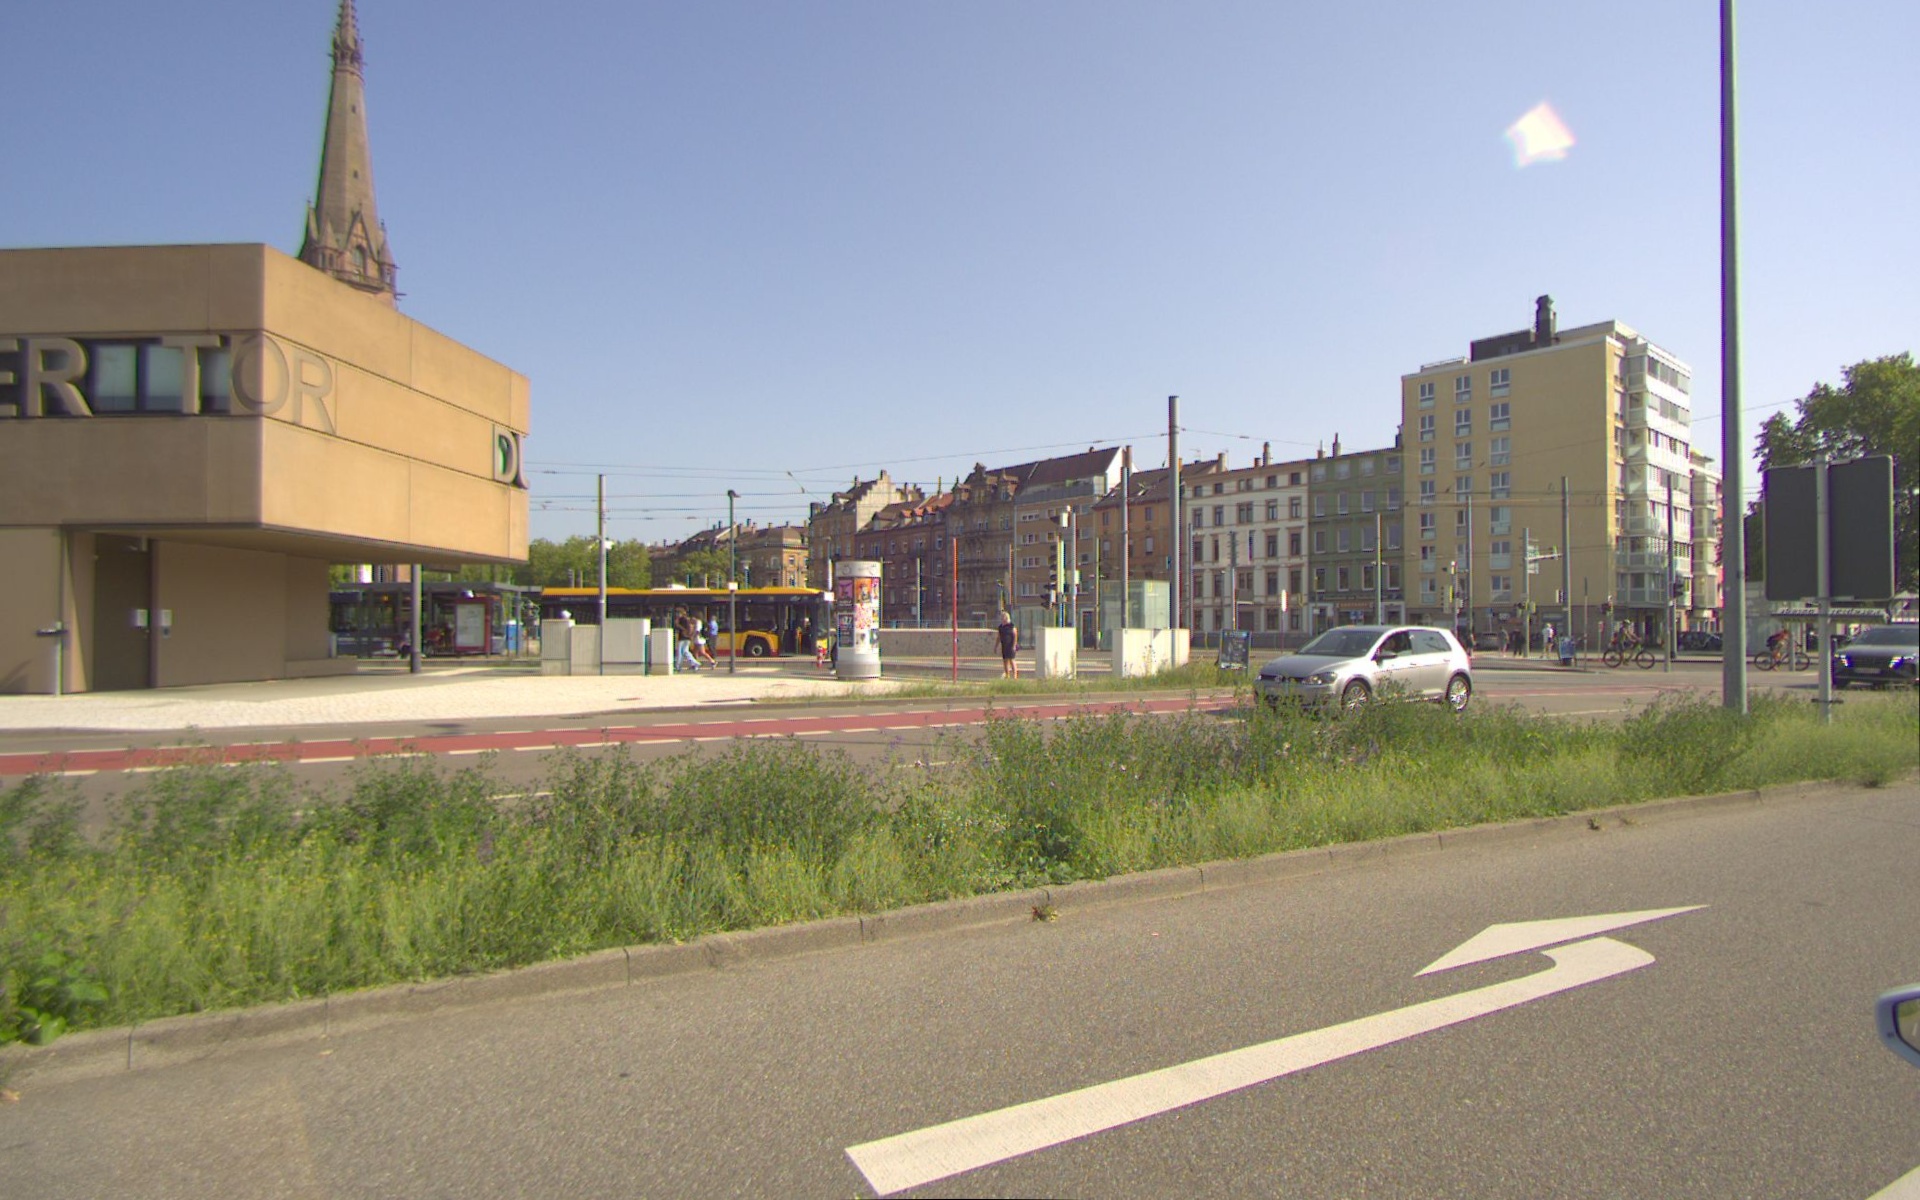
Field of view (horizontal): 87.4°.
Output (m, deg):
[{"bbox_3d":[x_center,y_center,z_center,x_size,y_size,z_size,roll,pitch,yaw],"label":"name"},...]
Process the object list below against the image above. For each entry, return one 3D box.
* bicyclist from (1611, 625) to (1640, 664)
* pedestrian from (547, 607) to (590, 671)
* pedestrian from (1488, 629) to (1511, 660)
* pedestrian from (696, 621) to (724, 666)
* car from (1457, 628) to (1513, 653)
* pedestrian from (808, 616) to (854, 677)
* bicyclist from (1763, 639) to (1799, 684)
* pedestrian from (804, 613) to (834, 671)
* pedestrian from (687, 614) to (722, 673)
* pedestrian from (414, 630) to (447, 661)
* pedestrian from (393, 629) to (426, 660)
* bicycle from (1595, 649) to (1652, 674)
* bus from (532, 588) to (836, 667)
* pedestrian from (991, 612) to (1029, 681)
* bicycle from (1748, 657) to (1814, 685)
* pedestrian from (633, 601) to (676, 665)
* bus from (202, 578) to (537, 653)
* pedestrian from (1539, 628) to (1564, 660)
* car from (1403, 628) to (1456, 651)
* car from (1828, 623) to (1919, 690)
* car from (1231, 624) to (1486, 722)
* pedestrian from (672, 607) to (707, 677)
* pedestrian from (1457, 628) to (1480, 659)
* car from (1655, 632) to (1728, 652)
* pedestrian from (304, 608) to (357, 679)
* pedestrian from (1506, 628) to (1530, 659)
[{"bbox_3d":[27.205,1.815,41.078,0.719,1.547,0.789,1,-1,-35],"label":"bicyclist"},{"bbox_3d":[-10.639,1.048,27.276,0.858,1.694,0.980,1,-2,-37],"label":"pedestrian"},{"bbox_3d":[30.355,2.498,56.532,0.915,1.712,0.914,1,-1,-41],"label":"pedestrian"},{"bbox_3d":[-9.821,1.696,39.472,0.819,1.761,0.831,0,-1,2],"label":"pedestrian"},{"bbox_3d":[37.580,2.885,72.030,1.960,1.701,4.553,0,-1,5],"label":"car"},{"bbox_3d":[-3.400,1.228,26.531,0.970,1.579,0.866,0,-2,11],"label":"pedestrian"},{"bbox_3d":[30.975,2.297,37.913,0.719,1.674,0.875,1,-1,-35],"label":"bicyclist"},{"bbox_3d":[-4.492,1.337,32.057,0.693,1.824,0.773,1,-2,-31],"label":"pedestrian"},{"bbox_3d":[-7.013,1.198,27.608,0.850,1.583,0.988,1,-2,-10],"label":"pedestrian"},{"bbox_3d":[-20.030,1.709,38.014,0.724,1.148,1.030,0,-2,-4],"label":"pedestrian"},{"bbox_3d":[-20.876,1.685,38.116,0.724,1.148,1.030,0,-2,-4],"label":"pedestrian"},{"bbox_3d":[27.159,2.518,41.133,0.719,0.944,1.801,1,-2,-34],"label":"bicycle"},{"bbox_3d":[-11.404,1.146,42.009,11.968,3.149,2.718,0,-2,4],"label":"bus"},{"bbox_3d":[1.347,1.250,26.988,0.693,1.824,0.773,1,-2,-31],"label":"pedestrian"},{"bbox_3d":[30.968,2.668,37.913,0.719,0.944,1.801,1,-2,-34],"label":"bicycle"},{"bbox_3d":[-8.538,0.923,28.039,0.858,1.727,0.980,1,-2,-37],"label":"pedestrian"},{"bbox_3d":[-24.873,0.654,42.666,12.539,3.017,3.301,0,-2,4],"label":"bus"},{"bbox_3d":[31.815,2.365,54.058,0.915,1.712,0.914,1,-1,-41],"label":"pedestrian"},{"bbox_3d":[35.518,2.955,76.047,1.960,1.701,4.551,1,-1,1],"label":"car"},{"bbox_3d":[24.711,1.442,26.592,4.419,1.638,1.682,2,-2,-36],"label":"car"},{"bbox_3d":[6.702,1.155,16.808,4.175,1.452,1.805,1,-2,-31],"label":"car"},{"bbox_3d":[-7.061,1.097,26.265,0.851,1.793,0.987,1,-2,-15],"label":"pedestrian"},{"bbox_3d":[28.836,2.453,56.942,0.915,1.712,0.914,1,-1,-41],"label":"pedestrian"},{"bbox_3d":[53.387,3.043,73.383,1.470,1.372,4.119,2,-2,-42],"label":"car"},{"bbox_3d":[-15.652,1.071,24.988,0.717,1.727,0.866,0,-2,0],"label":"pedestrian"},{"bbox_3d":[30.824,2.402,55.528,0.915,1.712,0.914,1,-1,-41],"label":"pedestrian"}]
